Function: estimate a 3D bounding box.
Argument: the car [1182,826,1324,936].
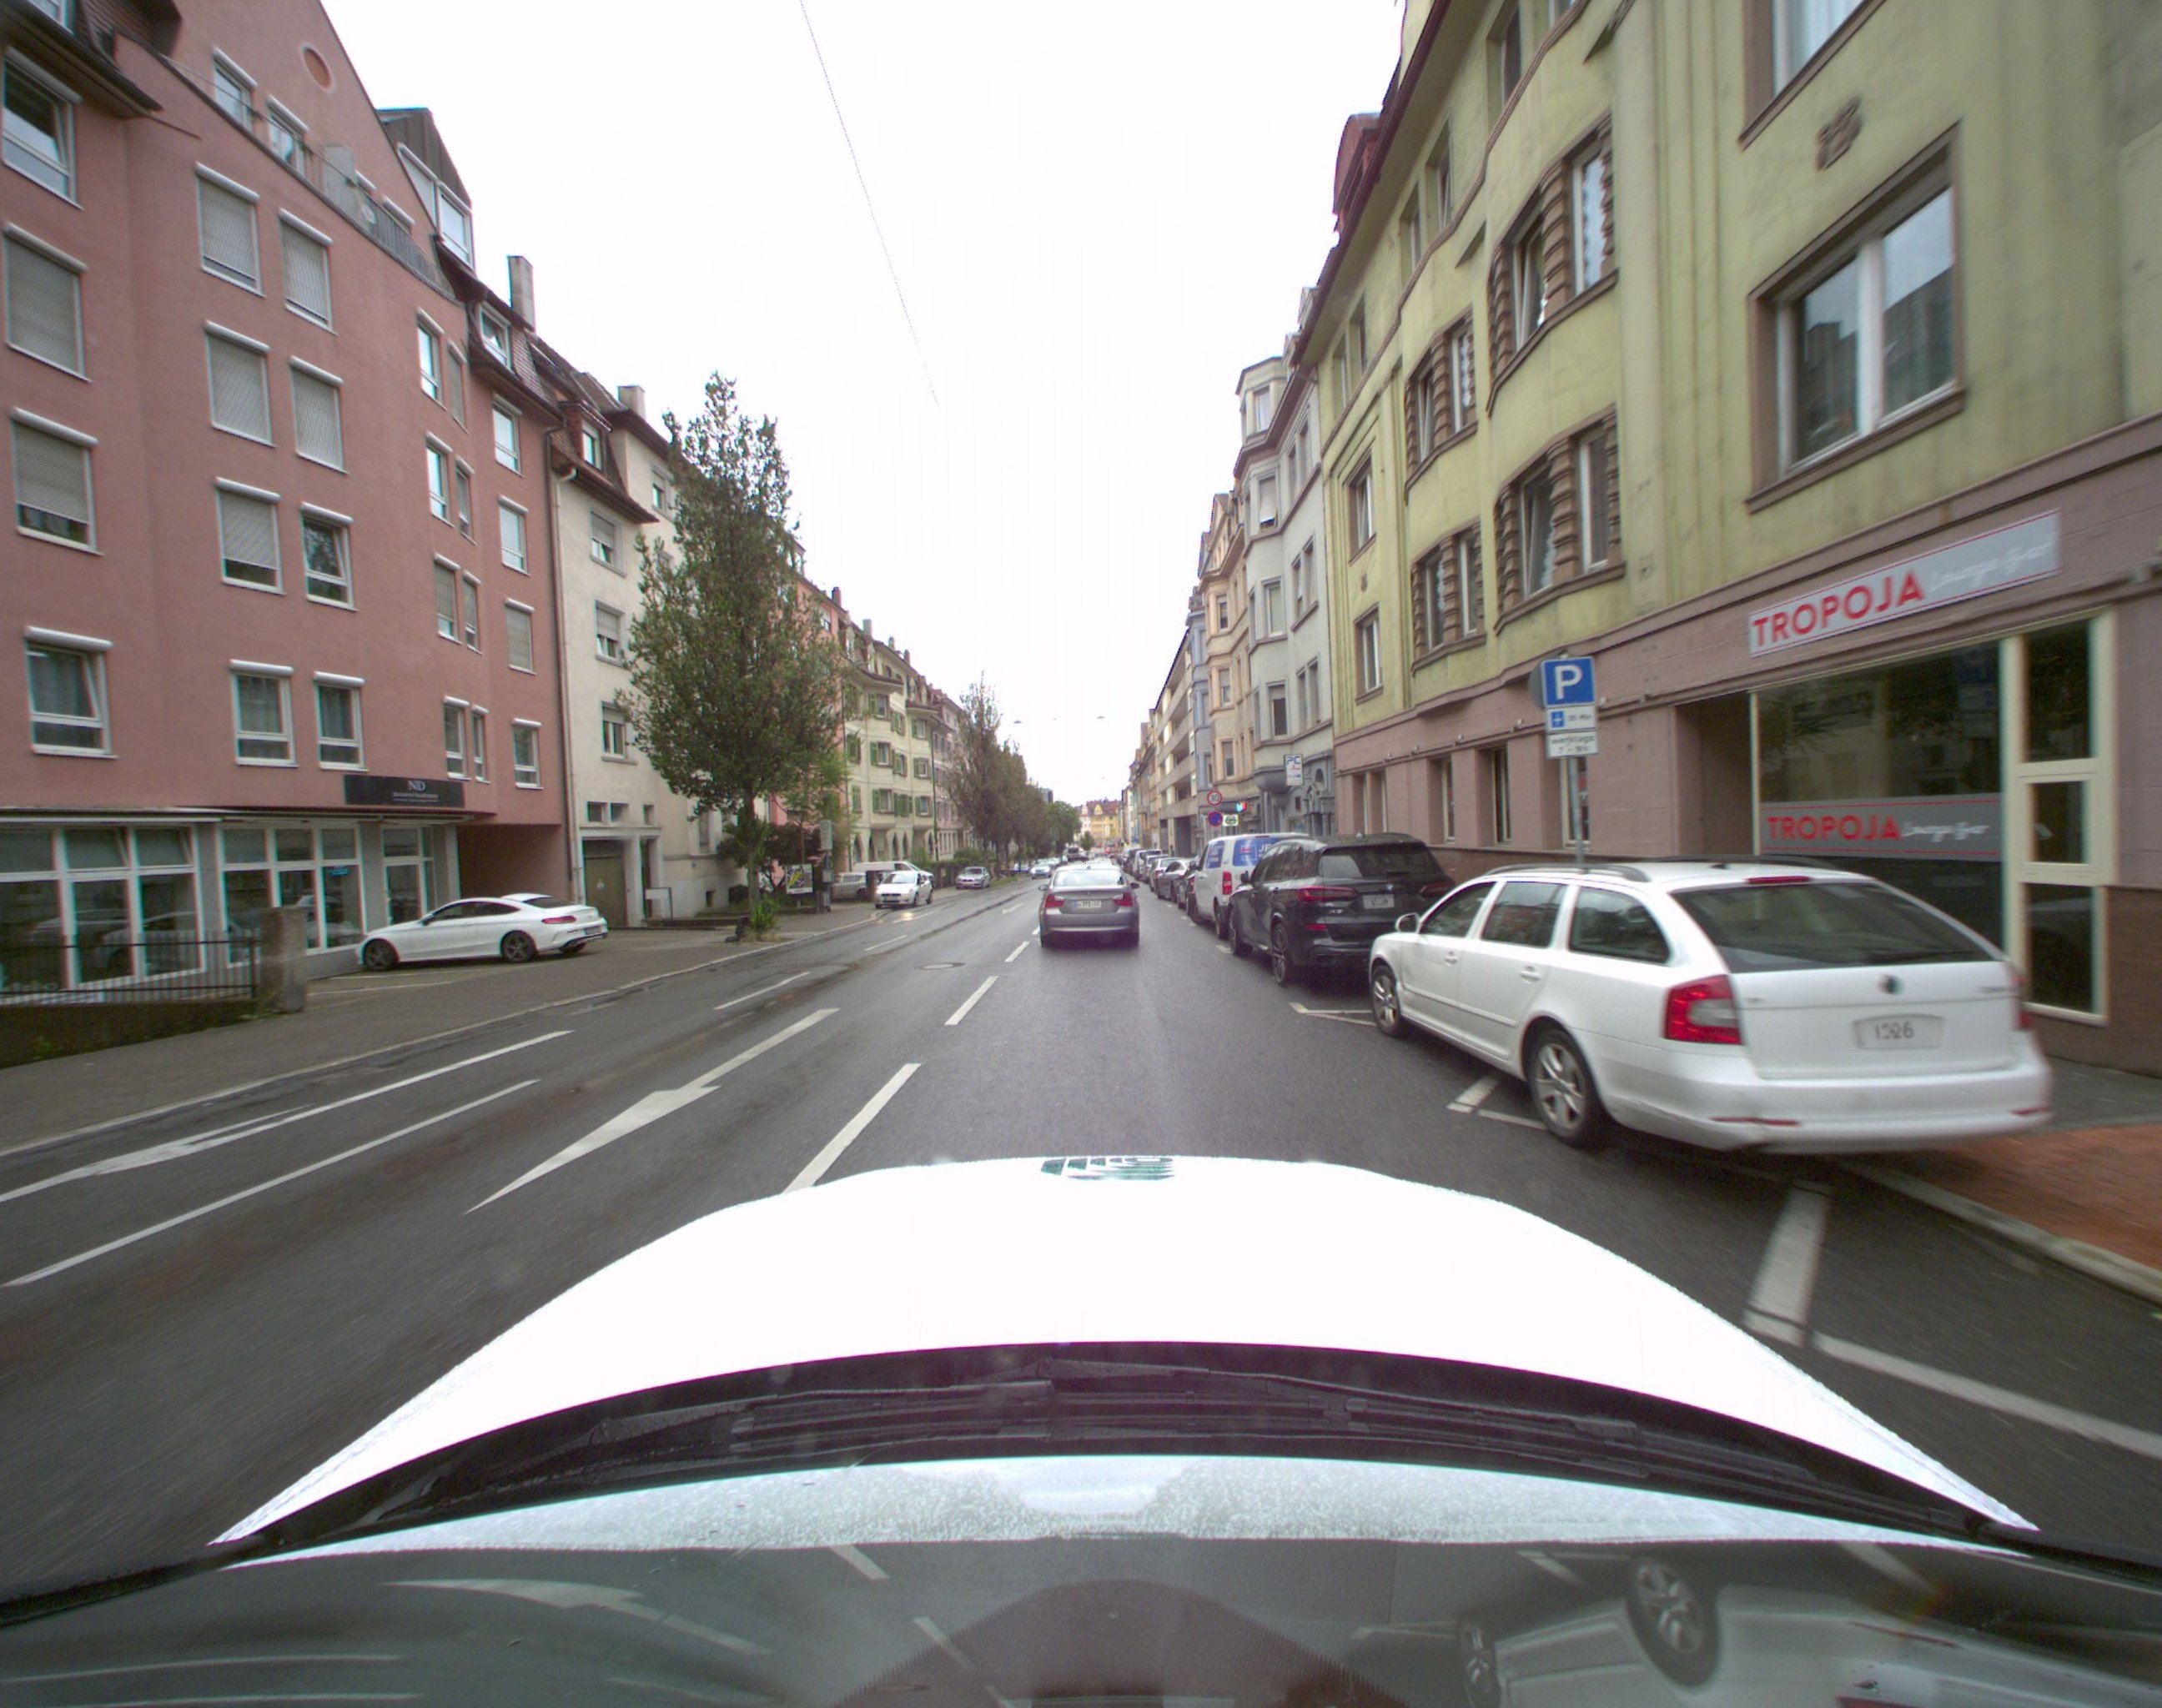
[{"bbox_3d":[3.349,0.487,16.898,1.912,1.827,5.011,-3,0,1],"label":"car"}]

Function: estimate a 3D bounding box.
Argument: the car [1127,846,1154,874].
[{"bbox_3d":[5.111,0.511,69.933,1.974,2.166,4.751,-3,0,1],"label":"car"}]

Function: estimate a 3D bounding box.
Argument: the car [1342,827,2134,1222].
[{"bbox_3d":[3.376,0.696,5.541,1.793,1.565,4.493,-1,0,0],"label":"car"}]

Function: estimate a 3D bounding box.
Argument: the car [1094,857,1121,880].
[{"bbox_3d":[1.736,0.951,53.658,1.691,1.483,3.794,-1,-1,1],"label":"car"}]

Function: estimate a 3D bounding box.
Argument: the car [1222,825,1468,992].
[{"bbox_3d":[3.178,0.582,10.896,1.872,1.731,4.678,-1,0,1],"label":"car"}]

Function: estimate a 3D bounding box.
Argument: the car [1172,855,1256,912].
[{"bbox_3d":[3.497,0.733,22.118,1.671,1.375,4.277,-2,0,1],"label":"car"}]

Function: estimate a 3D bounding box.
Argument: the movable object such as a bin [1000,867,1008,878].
[{"bbox_3d":[-6.612,1.615,69.680,0.575,0.912,0.637,-3,-1,-13],"label":"movable object such as a bin"}]

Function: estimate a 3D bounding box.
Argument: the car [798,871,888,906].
[{"bbox_3d":[-11.671,1.682,40.164,3.877,1.457,1.788,-3,0,-6],"label":"car"}]

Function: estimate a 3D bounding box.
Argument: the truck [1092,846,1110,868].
[{"bbox_3d":[2.275,0.416,92.970,2.025,2.412,4.827,-1,-1,1],"label":"truck"}]

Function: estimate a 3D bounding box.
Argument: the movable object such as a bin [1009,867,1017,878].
[{"bbox_3d":[-5.838,1.586,69.921,0.575,0.912,0.637,-3,-1,-13],"label":"movable object such as a bin"}]

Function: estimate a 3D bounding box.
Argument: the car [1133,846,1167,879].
[{"bbox_3d":[4.623,0.550,55.292,1.974,2.007,4.626,-3,0,1],"label":"car"}]

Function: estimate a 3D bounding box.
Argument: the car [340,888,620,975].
[{"bbox_3d":[-12.600,1.602,17.269,4.532,1.401,1.768,-4,0,1],"label":"car"}]

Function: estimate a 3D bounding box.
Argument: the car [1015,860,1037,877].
[{"bbox_3d":[-5.510,1.447,82.012,1.761,1.593,4.000,-4,0,0],"label":"car"}]

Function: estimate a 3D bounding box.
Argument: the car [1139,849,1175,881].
[{"bbox_3d":[4.501,0.631,48.543,1.720,1.670,4.290,-5,0,1],"label":"car"}]

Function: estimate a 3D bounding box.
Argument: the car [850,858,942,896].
[{"bbox_3d":[-10.944,1.340,48.380,4.811,1.974,2.048,-3,0,1],"label":"car"}]

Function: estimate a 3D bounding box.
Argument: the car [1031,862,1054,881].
[{"bbox_3d":[-3.390,1.532,72.904,1.630,1.508,3.756,-5,0,1],"label":"car"}]

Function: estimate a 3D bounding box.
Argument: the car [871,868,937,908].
[{"bbox_3d":[-7.274,1.368,33.836,1.614,1.446,4.007,-3,0,2],"label":"car"}]

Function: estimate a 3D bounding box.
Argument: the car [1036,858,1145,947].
[{"bbox_3d":[0.182,0.821,15.227,1.763,1.428,3.741,-1,-1,1],"label":"car"}]

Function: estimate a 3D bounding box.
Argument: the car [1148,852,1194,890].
[{"bbox_3d":[3.798,0.700,34.982,1.605,1.474,4.017,-1,0,1],"label":"car"}]

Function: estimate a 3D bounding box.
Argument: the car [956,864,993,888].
[{"bbox_3d":[-6.972,1.409,53.454,1.719,1.484,3.991,0,-1,2],"label":"car"}]

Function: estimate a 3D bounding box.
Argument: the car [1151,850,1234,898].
[{"bbox_3d":[3.738,0.661,28.240,1.872,1.467,4.767,-1,-1,-5],"label":"car"}]

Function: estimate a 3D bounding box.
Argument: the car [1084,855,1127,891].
[{"bbox_3d":[1.070,0.791,34.593,1.675,1.428,3.743,-1,-1,3],"label":"car"}]

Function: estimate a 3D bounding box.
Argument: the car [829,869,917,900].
[{"bbox_3d":[-11.692,1.709,45.927,4.419,1.451,1.791,-3,0,-1],"label":"car"}]

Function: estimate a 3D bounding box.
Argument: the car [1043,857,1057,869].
[{"bbox_3d":[-4.766,1.362,124.251,1.684,1.523,3.739,-4,0,3],"label":"car"}]

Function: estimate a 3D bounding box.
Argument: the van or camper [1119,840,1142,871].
[{"bbox_3d":[4.936,0.120,80.409,2.023,2.869,6.895,0,0,5],"label":"van or camper"}]

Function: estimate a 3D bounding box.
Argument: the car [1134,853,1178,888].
[{"bbox_3d":[3.734,0.781,41.148,1.892,1.478,4.801,-5,0,2],"label":"car"}]
